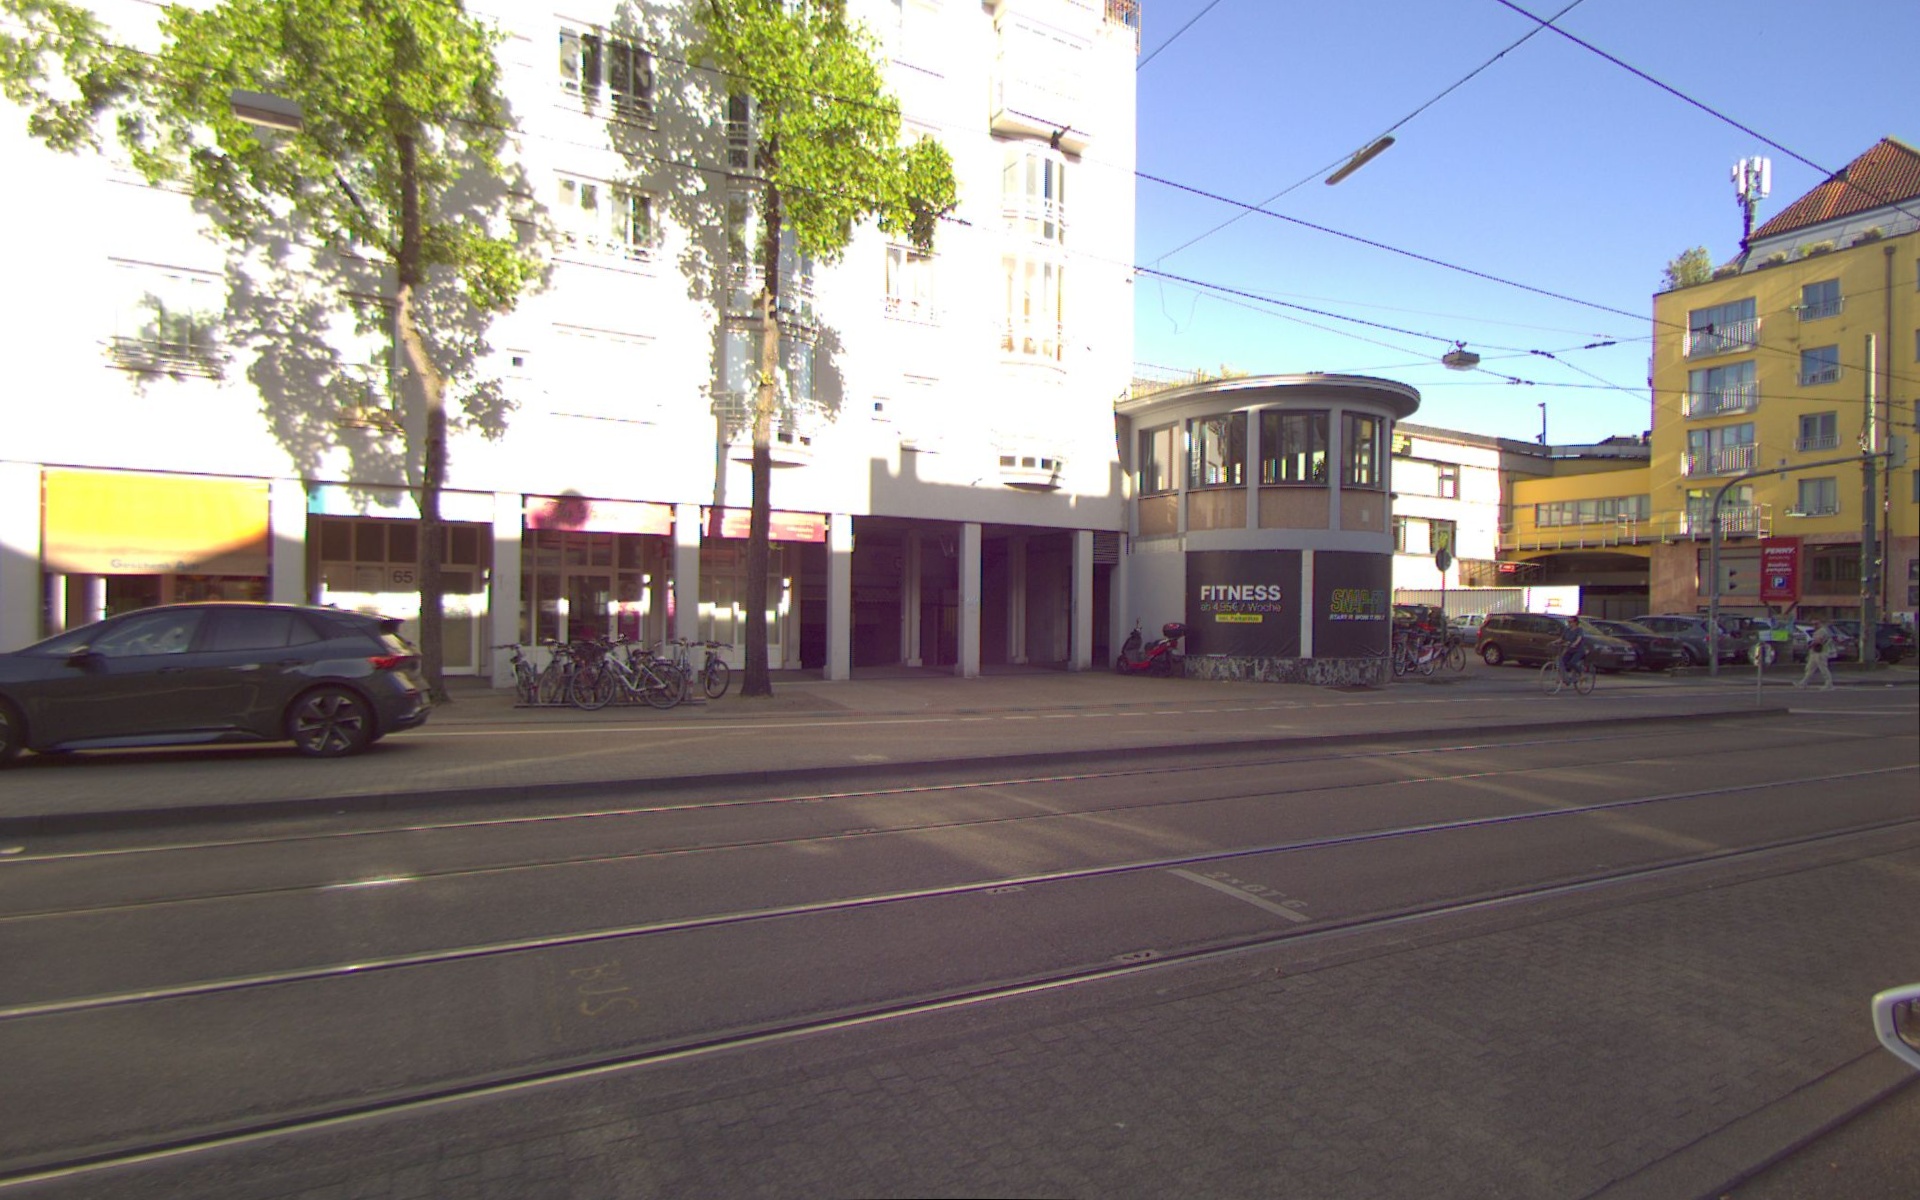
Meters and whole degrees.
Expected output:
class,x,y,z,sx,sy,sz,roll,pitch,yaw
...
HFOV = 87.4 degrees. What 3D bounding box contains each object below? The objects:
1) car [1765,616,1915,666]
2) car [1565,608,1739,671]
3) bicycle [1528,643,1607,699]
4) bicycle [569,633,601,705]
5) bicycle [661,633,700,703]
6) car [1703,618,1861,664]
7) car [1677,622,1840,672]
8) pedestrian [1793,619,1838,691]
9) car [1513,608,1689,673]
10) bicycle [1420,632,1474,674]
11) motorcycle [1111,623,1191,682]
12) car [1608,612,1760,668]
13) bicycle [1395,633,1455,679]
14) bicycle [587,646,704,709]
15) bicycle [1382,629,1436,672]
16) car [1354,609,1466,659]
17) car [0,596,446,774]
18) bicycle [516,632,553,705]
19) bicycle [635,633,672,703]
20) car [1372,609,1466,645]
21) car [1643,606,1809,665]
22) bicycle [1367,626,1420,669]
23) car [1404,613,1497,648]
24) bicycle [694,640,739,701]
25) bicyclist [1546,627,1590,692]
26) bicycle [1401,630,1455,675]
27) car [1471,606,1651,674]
class,x,y,z,sx,sy,sz,roll,pitch,yaw
car,35.182,1.605,40.289,1.764,1.836,4.214,1,-1,-30
car,21.803,1.197,31.807,1.764,1.836,4.214,1,-1,-29
bicycle,13.313,1.530,21.987,1.979,1.138,0.561,1,0,-29
bicycle,-6.270,1.124,16.789,0.458,1.091,1.870,1,-1,-21
bicycle,-4.816,1.132,17.228,0.458,1.091,1.870,1,-1,-21
car,30.494,1.486,37.379,1.764,1.568,4.214,3,-3,-29
car,28.418,1.643,35.886,1.764,1.630,4.214,3,-3,-29
pedestrian,21.585,1.371,25.333,0.773,1.787,0.708,1,0,-37
car,19.491,1.196,30.716,1.764,1.836,4.214,2,-1,-29
bicycle,13.052,1.404,26.977,0.417,1.050,1.878,1,-1,-5
motorcycle,4.493,1.218,23.757,0.668,1.280,1.969,0,0,-35
car,23.760,1.273,33.087,1.764,1.695,3.673,1,0,-29
bicycle,11.213,1.319,24.193,1.862,1.050,0.520,1,-1,-38
bicycle,-4.946,1.202,15.819,1.727,0.944,0.469,1,0,-21
bicycle,11.716,1.300,26.171,1.862,1.050,0.460,1,-1,-38
car,17.039,1.266,38.190,1.677,1.772,3.559,1,0,-32
car,-7.649,0.808,10.207,4.209,1.560,1.775,1,-3,-25
bicycle,-7.027,1.092,16.553,0.504,1.091,1.868,1,-1,-24
bicycle,-5.267,1.127,17.206,0.458,1.091,1.870,1,-1,-21
car,20.587,1.177,45.179,1.609,1.501,3.617,0,0,-32
car,26.146,1.199,34.434,1.764,1.835,4.214,3,-3,-29
bicycle,11.529,1.256,26.680,1.862,1.102,0.460,1,-1,-38
car,22.648,1.393,46.514,1.677,1.499,3.559,-1,0,-32
bicycle,-4.246,1.197,17.470,0.561,0.944,1.746,1,-1,-20
bicyclist,13.304,1.284,21.978,0.710,1.379,0.560,1,0,-30
bicycle,11.980,1.316,25.672,1.862,1.094,0.460,1,-1,-38
car,17.577,1.112,29.577,1.764,1.787,4.213,1,0,-30
